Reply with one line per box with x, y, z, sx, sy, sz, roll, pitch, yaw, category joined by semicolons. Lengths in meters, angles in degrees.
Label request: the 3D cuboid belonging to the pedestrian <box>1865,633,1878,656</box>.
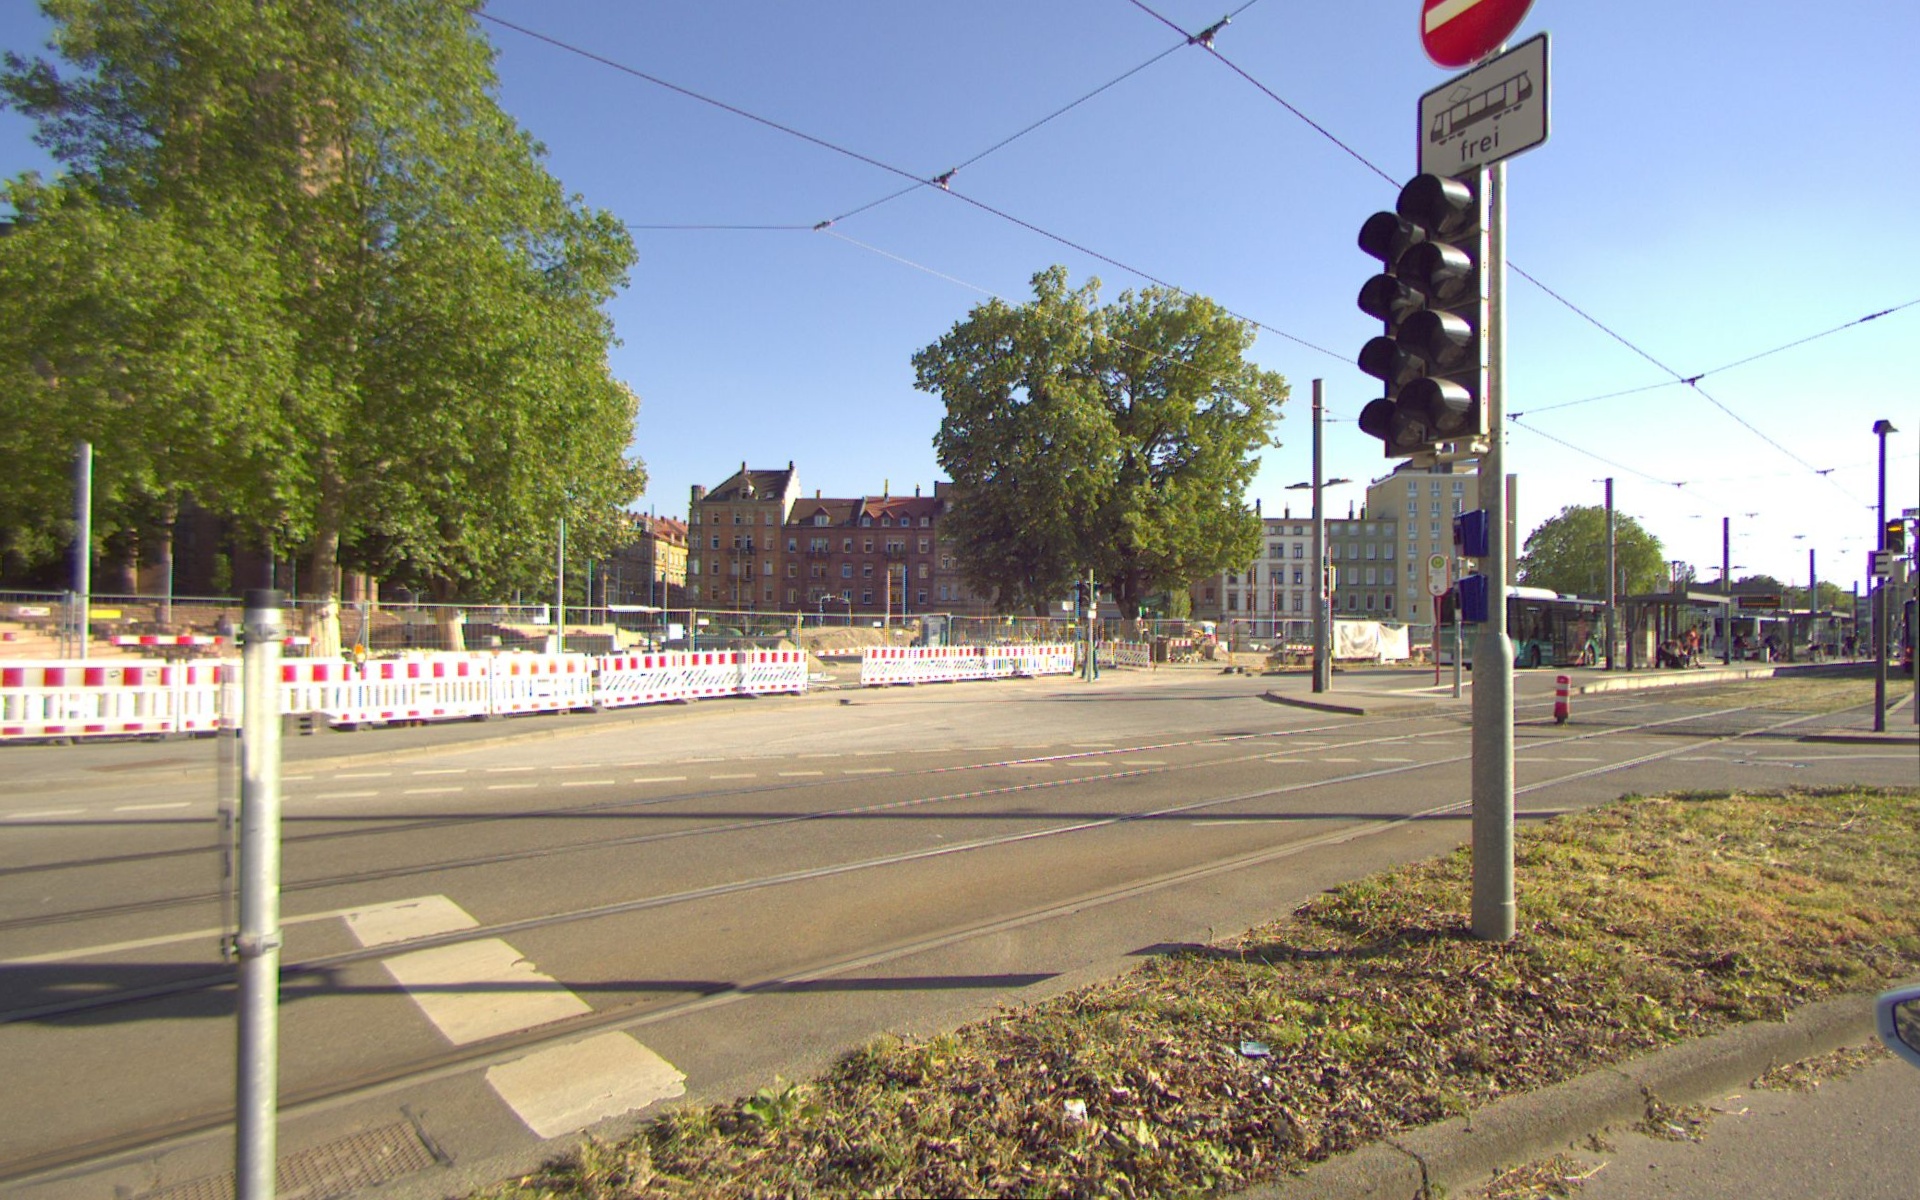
70.747;3.458;77.967;0.636;1.772;0.726;2;-2;-45;pedestrian

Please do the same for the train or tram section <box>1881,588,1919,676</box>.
44.750;1.496;45.825;12.108;3.644;2.855;2;0;-42;train or tram section

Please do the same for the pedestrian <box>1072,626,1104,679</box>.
4.214;1.737;33.060;0.699;1.719;0.899;-1;-4;33;pedestrian

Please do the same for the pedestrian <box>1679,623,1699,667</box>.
29.557;1.815;40.726;0.564;1.772;0.636;-1;-2;43;pedestrian

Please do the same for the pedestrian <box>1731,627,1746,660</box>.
42.705;2.367;55.105;0.629;1.772;0.570;-1;-2;34;pedestrian

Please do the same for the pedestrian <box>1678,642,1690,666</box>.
53.302;3.989;73.942;0.568;1.772;0.632;2;-2;-41;pedestrian

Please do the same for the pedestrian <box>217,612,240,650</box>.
-33.281;1.406;45.711;0.665;1.669;0.635;1;-1;-18;pedestrian

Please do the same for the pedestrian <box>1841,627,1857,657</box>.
53.123;2.518;60.044;0.629;1.772;0.570;-1;-2;34;pedestrian

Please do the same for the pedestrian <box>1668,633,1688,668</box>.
28.178;1.987;39.406;0.564;1.363;0.636;-1;-2;43;pedestrian

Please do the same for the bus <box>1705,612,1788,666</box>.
53.956;2.637;68.747;13.376;3.317;2.694;2;0;-44;bus

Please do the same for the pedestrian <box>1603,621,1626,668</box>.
25.067;1.703;38.471;0.554;1.772;0.534;2;-2;-35;pedestrian

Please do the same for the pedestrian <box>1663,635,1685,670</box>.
27.669;2.023;38.930;0.609;1.358;0.438;-1;-2;44;pedestrian

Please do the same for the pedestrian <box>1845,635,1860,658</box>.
70.519;3.674;79.364;0.634;1.772;0.728;2;-2;-37;pedestrian

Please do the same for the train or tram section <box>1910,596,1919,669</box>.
53.888;1.824;53.779;12.100;3.644;2.987;2;0;-40;train or tram section

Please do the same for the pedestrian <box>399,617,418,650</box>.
-27.662;1.680;50.392;0.751;1.669;0.671;1;-1;-26;pedestrian

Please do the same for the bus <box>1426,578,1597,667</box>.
21.996;0.904;39.748;9.564;3.177;2.631;2;0;-40;bus
